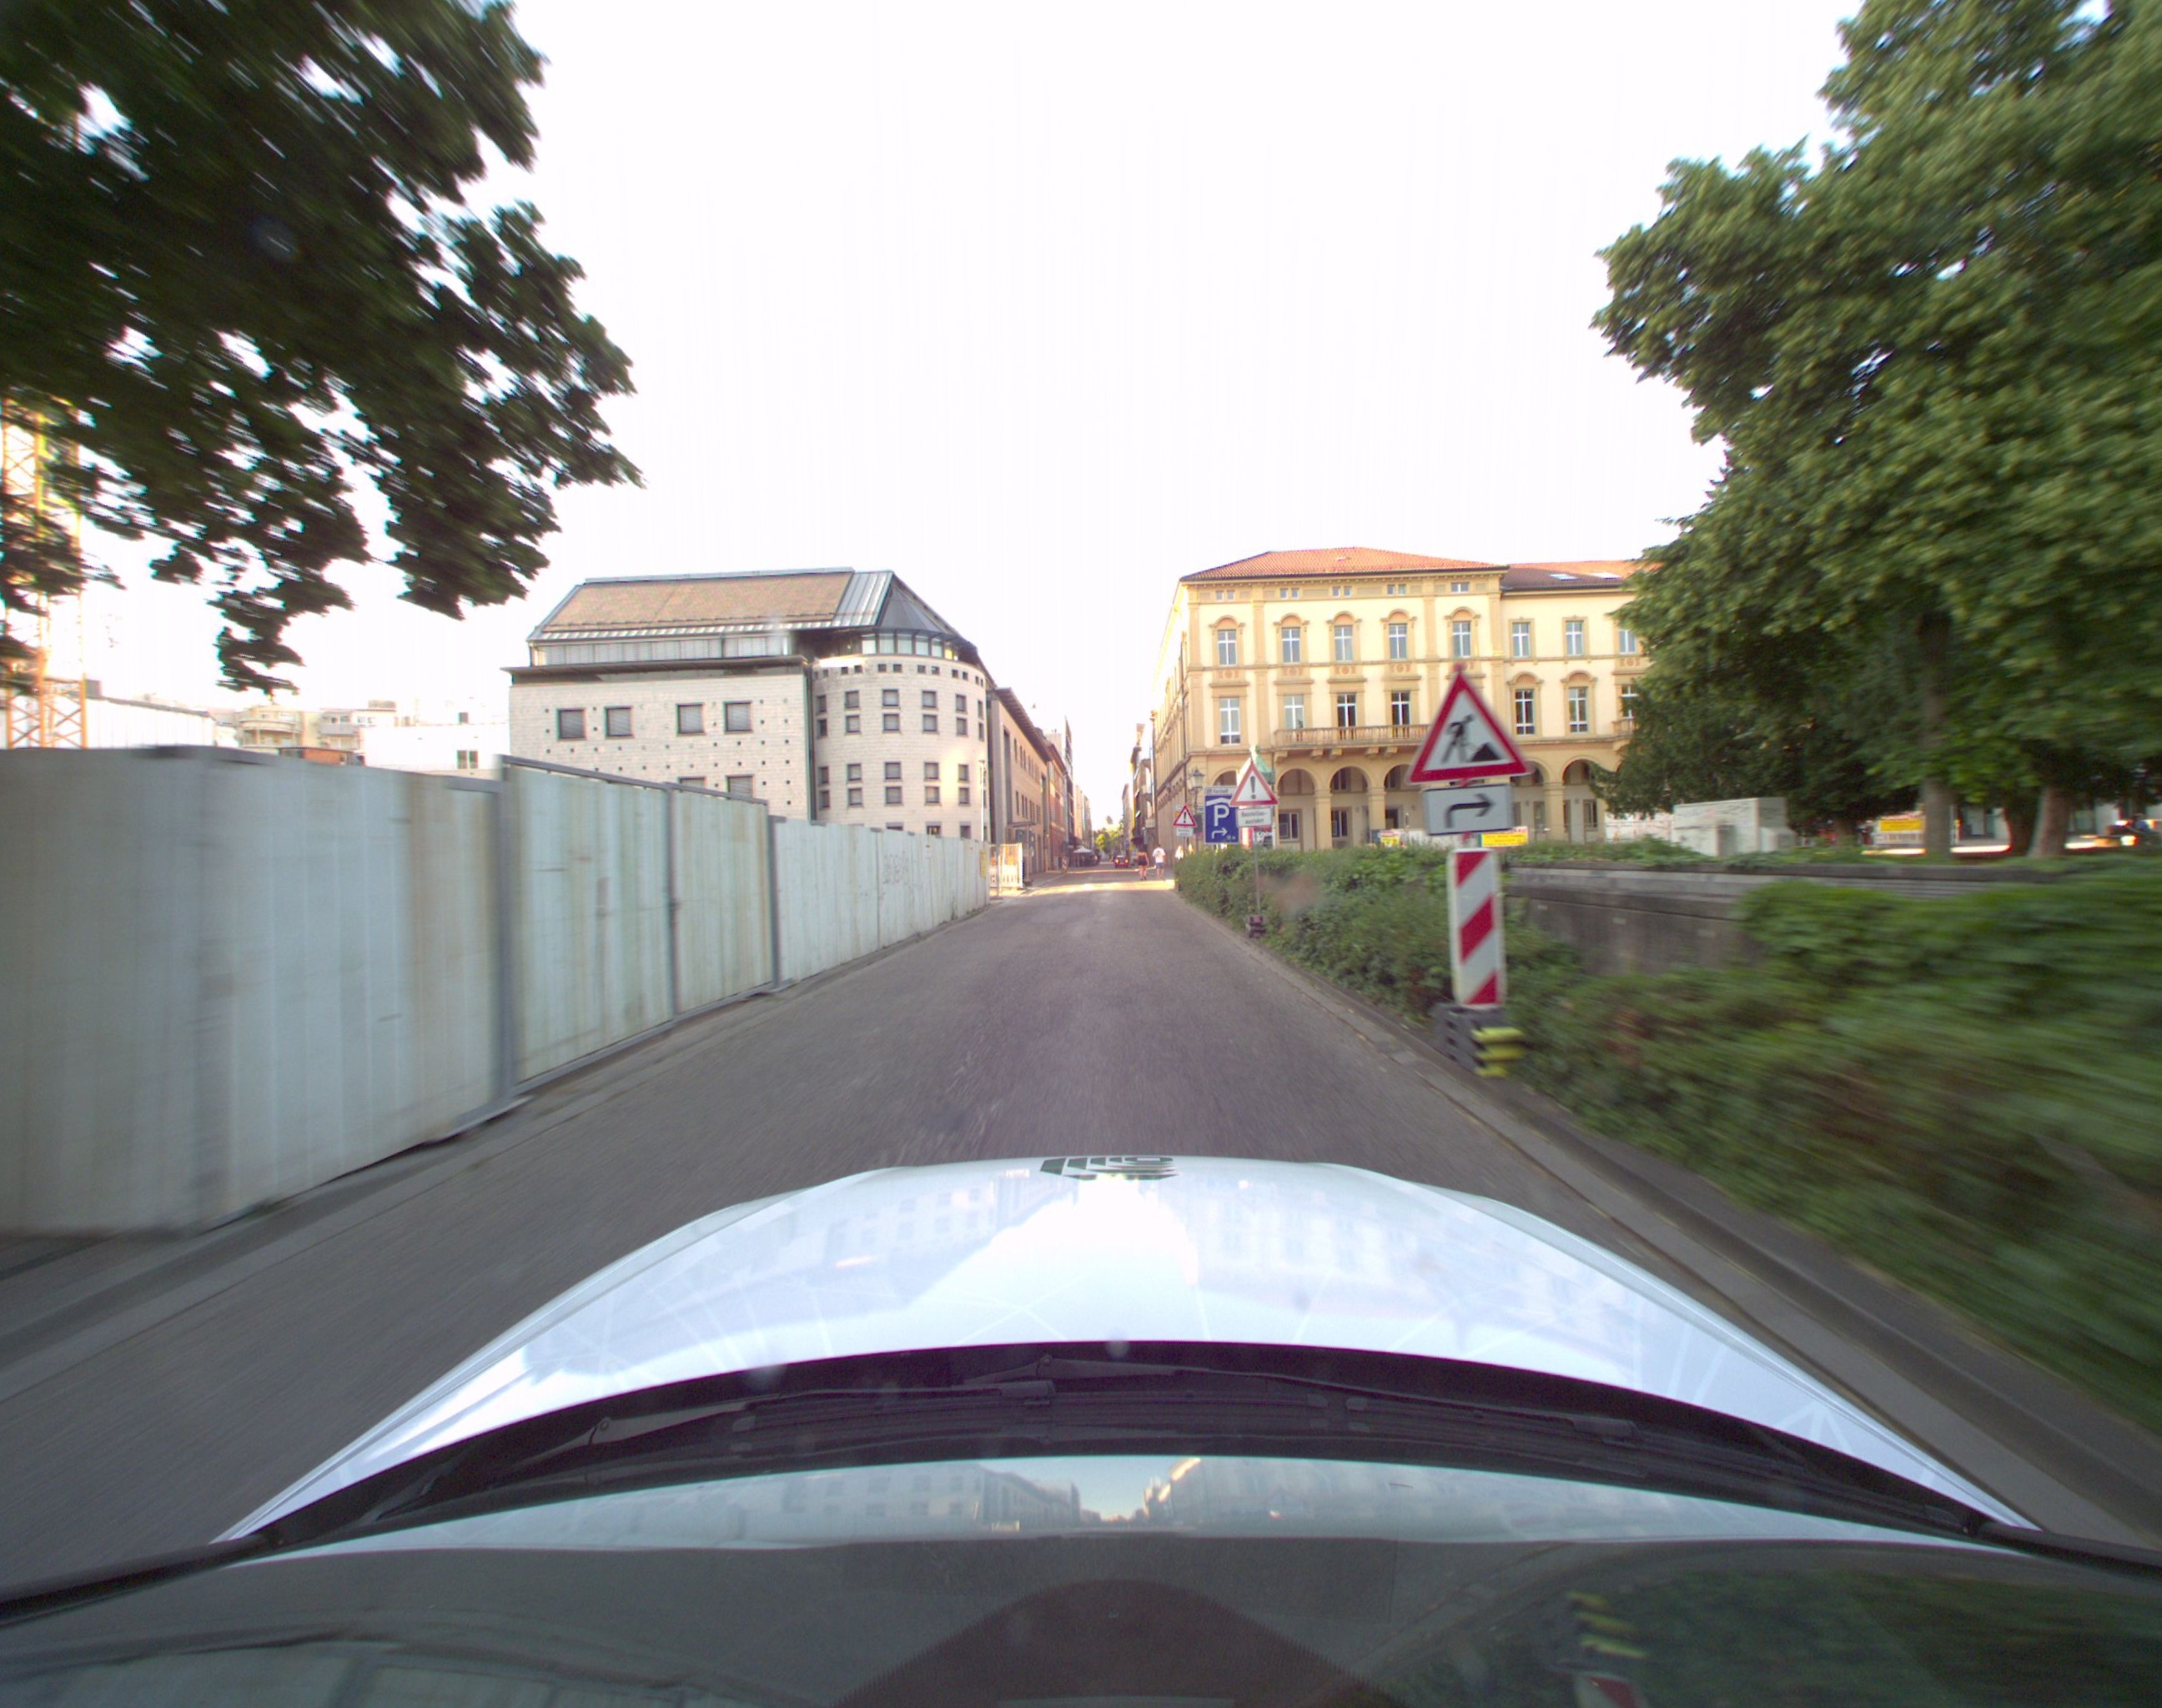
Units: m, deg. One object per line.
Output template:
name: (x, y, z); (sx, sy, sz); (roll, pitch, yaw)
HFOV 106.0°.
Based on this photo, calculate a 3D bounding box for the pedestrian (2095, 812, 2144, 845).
pedestrian: (40.771, -1.003, 31.973); (0.705, 1.252, 0.926); (-2, -1, -3)

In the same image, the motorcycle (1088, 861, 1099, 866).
motorcycle: (2.124, 1.676, 139.634); (1.797, 0.875, 0.560); (-2, -1, -3)

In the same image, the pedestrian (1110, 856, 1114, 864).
pedestrian: (6.818, 1.281, 176.990); (0.801, 1.672, 0.889); (-2, -1, 3)

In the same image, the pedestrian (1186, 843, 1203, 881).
pedestrian: (5.507, 0.411, 39.619); (0.634, 1.803, 0.772); (-2, -1, 1)

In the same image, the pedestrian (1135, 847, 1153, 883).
pedestrian: (3.159, 0.533, 40.860); (0.773, 1.746, 0.875); (-2, -1, 1)

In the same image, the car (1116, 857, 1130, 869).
car: (5.087, 1.139, 99.497); (1.643, 1.427, 3.537); (1, -1, 2)

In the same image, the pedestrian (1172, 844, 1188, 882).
pedestrian: (4.815, 0.432, 39.620); (0.634, 1.803, 0.772); (-2, -1, 1)

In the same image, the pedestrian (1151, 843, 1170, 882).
pedestrian: (4.023, 0.426, 41.078); (0.809, 1.875, 0.875); (-2, -1, 1)
